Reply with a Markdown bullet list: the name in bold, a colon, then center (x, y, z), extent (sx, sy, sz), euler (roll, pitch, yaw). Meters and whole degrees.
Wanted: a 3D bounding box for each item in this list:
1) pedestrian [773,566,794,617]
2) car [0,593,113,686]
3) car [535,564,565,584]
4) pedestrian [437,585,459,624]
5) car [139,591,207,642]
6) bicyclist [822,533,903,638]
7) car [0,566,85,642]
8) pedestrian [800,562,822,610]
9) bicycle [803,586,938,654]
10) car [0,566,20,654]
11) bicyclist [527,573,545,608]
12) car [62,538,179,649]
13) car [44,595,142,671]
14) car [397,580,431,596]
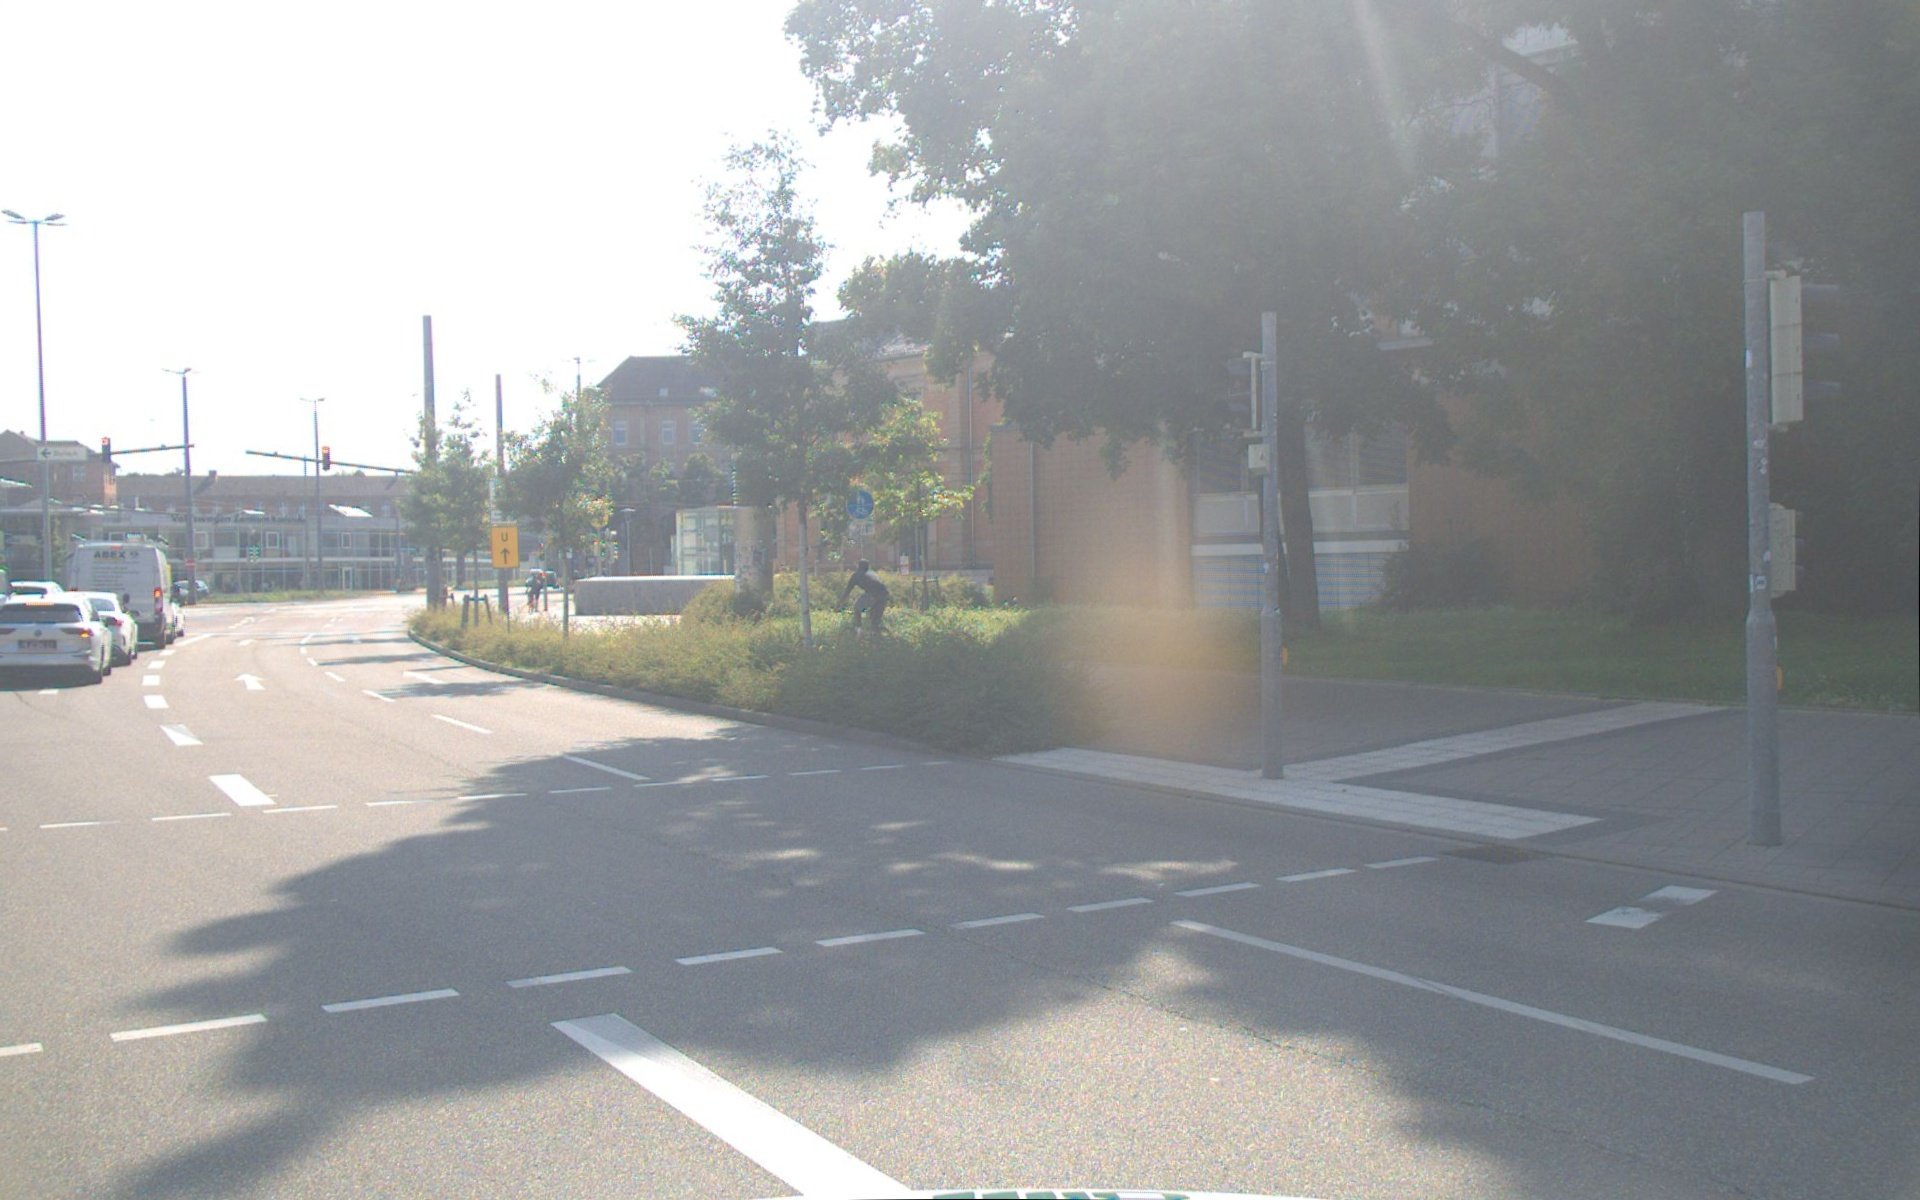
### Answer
- **pedestrian**: center (-5.818, -0.277, 54.550), extent (0.602, 1.667, 0.533), euler (-1, 1, -4)
- **car**: center (-15.137, 0.618, 27.494), extent (1.663, 1.411, 3.607), euler (-1, 0, -24)
- **car**: center (-41.782, -2.659, 168.606), extent (2.367, 2.048, 4.771), euler (-1, 1, -7)
- **pedestrian**: center (-18.649, 0.170, 60.250), extent (0.629, 1.385, 0.628), euler (-2, 1, -28)
- **car**: center (-23.406, 0.448, 49.265), extent (1.615, 1.428, 3.661), euler (-1, 1, -23)
- **bicyclist**: center (-1.522, -0.227, 25.805), extent (0.971, 1.606, 0.771), euler (0, 1, 38)
- **car**: center (-26.106, 0.090, 46.782), extent (1.997, 2.043, 4.649), euler (-1, 1, -23)
- **pedestrian**: center (-5.186, -0.480, 57.683), extent (0.606, 1.657, 0.530), euler (-1, 1, -22)
- **bicycle**: center (-1.399, 0.299, 25.723), extent (2.108, 0.993, 0.771), euler (0, 1, 38)
- **car**: center (-23.620, 0.237, 38.947), extent (1.996, 2.043, 4.650), euler (-1, 1, -23)
- **bicyclist**: center (-19.361, -0.449, 75.537), extent (0.700, 1.556, 0.804), euler (-1, 1, -11)
- **car**: center (-20.955, -0.164, 41.467), extent (2.158, 2.594, 4.652), euler (-1, 0, -22)
- **car**: center (-17.564, 0.627, 33.631), extent (1.469, 1.427, 3.912), euler (-1, 0, -24)
- **car**: center (-51.864, -1.136, 157.130), extent (1.953, 1.467, 4.000), euler (-1, 1, -1)
